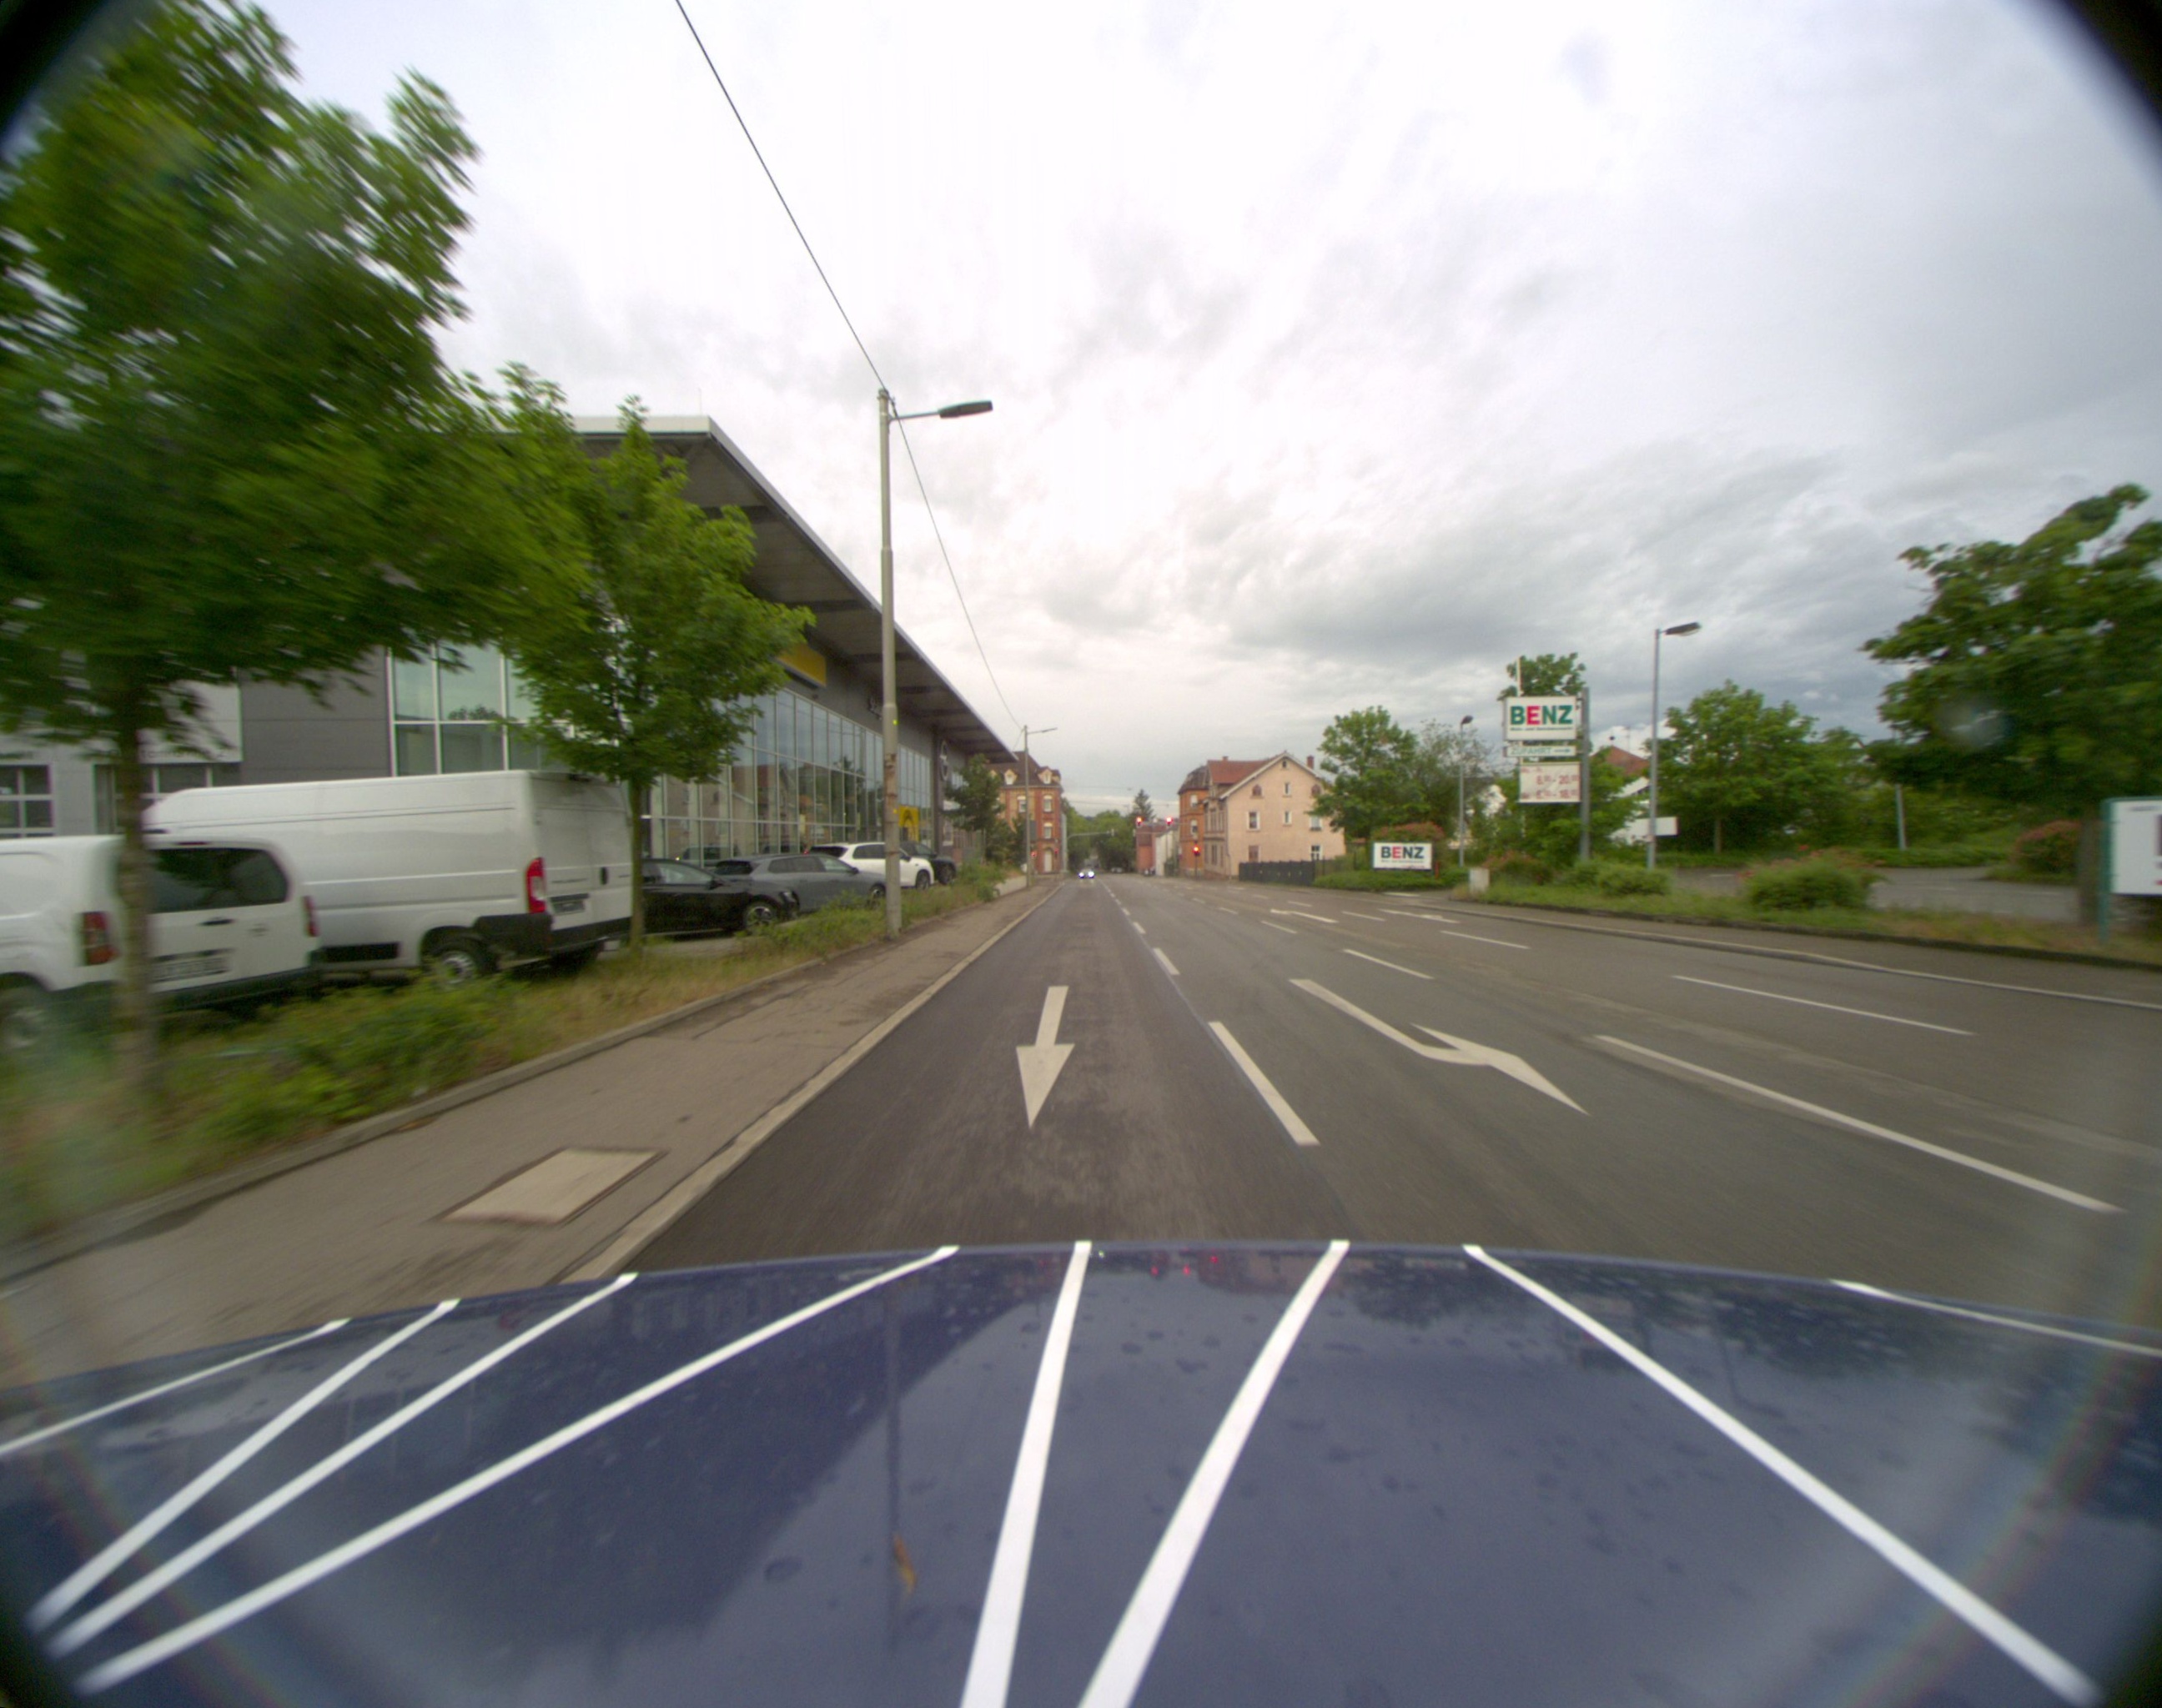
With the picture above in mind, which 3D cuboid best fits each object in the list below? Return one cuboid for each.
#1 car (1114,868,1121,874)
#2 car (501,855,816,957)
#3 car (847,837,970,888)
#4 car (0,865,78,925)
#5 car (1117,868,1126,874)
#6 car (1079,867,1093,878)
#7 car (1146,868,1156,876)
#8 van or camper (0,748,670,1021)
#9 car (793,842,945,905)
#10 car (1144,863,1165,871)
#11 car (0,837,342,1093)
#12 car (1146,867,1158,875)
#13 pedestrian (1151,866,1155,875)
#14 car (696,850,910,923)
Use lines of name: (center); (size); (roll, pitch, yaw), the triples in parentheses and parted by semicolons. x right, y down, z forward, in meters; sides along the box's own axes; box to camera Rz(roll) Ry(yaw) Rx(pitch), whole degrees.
car: (9.381, 4.346, 195.391); (1.816, 1.537, 4.199); (2, 0, 1)
car: (-7.244, 0.762, 13.336); (4.527, 1.446, 1.910); (0, 2, -42)
car: (-6.228, 0.261, 27.929); (1.994, 1.701, 4.436); (1, 1, 27)
car: (-26.629, 0.999, 17.632); (2.001, 1.412, 3.995); (-2, 0, -16)
car: (9.773, 4.163, 184.030); (1.789, 1.402, 4.198); (1, 0, -2)
car: (0.735, 2.499, 103.487); (1.842, 1.403, 4.000); (-1, 0, 1)
car: (13.989, 3.578, 152.188); (1.749, 1.499, 4.178); (-1, 0, 1)
van or camper: (-8.536, 0.334, 9.195); (5.751, 2.708, 2.352); (-2, 0, 1)
car: (-6.264, 0.498, 23.053); (1.995, 1.701, 4.585); (1, 1, 24)
car: (16.561, 2.877, 172.100); (4.542, 1.599, 2.153); (-3, 0, 3)
car: (-9.398, 0.860, 6.597); (4.137, 1.836, 1.842); (-2, 3, 3)
car: (14.886, 3.577, 159.619); (1.750, 1.543, 4.083); (-3, 0, -3)
pedestrian: (12.726, 2.920, 134.213); (0.642, 1.696, 0.911); (-1, 0, 2)
car: (-6.297, 0.643, 17.816); (1.911, 1.446, 4.580); (1, 1, 29)
